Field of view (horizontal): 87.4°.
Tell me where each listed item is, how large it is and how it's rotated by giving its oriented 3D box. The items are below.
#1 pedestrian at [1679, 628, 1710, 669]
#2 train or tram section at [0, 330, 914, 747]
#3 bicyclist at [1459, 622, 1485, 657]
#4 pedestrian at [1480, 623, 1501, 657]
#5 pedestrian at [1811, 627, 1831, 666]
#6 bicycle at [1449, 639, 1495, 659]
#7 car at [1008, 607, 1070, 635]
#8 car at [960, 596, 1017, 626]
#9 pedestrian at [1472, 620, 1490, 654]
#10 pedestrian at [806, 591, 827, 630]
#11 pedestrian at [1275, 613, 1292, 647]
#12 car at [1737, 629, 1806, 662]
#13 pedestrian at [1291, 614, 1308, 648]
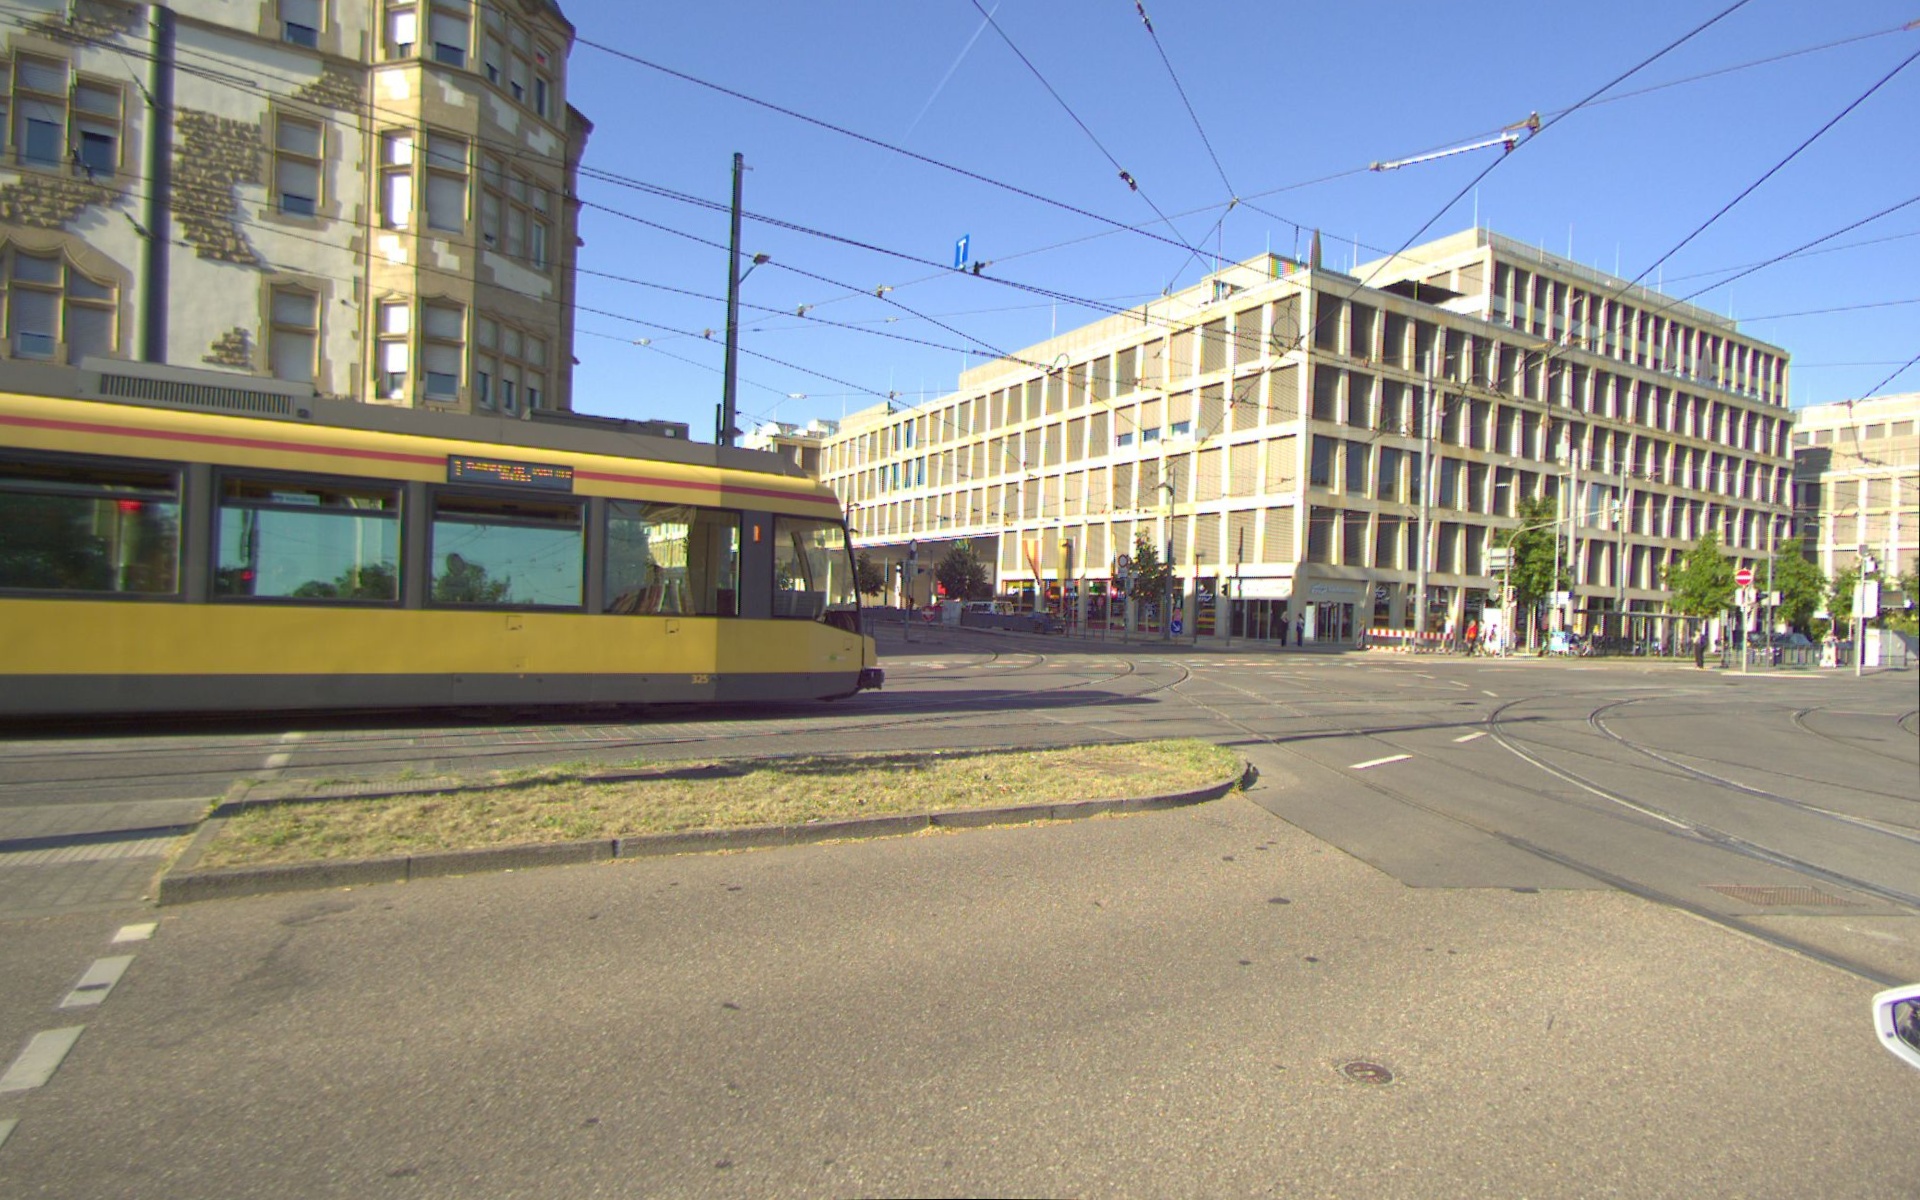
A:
[{"bbox_3d":[29.219,1.924,39.964,0.616,1.552,0.754,1,0,-26],"label":"pedestrian"},{"bbox_3d":[-6.506,-0.452,11.119,12.011,3.535,2.799,2,0,-30],"label":"train or tram section"},{"bbox_3d":[23.466,1.810,46.071,0.773,1.546,0.703,2,0,-22],"label":"bicyclist"},{"bbox_3d":[24.488,1.846,46.357,0.574,1.546,0.593,2,0,-22],"label":"pedestrian"},{"bbox_3d":[38.636,2.079,45.066,0.609,1.686,0.512,2,0,36],"label":"pedestrian"},{"bbox_3d":[23.477,2.238,46.129,0.611,0.786,1.971,2,0,-21],"label":"bicycle"},{"bbox_3d":[4.952,1.328,63.505,1.832,1.635,4.035,2,0,-32],"label":"car"},{"bbox_3d":[1.908,0.747,68.136,1.893,1.939,4.035,2,0,-32],"label":"car"},{"bbox_3d":[24.923,1.782,48.060,0.584,1.595,0.583,2,0,7],"label":"pedestrian"},{"bbox_3d":[-7.368,0.544,51.610,0.864,1.991,0.545,2,0,-29],"label":"pedestrian"},{"bbox_3d":[16.066,1.488,49.890,0.527,1.658,0.586,2,0,-17],"label":"pedestrian"},{"bbox_3d":[47.251,2.641,58.441,4.066,1.836,1.832,2,0,-31],"label":"car"},{"bbox_3d":[16.733,1.531,49.550,0.526,1.658,0.587,2,0,-9],"label":"pedestrian"}]
